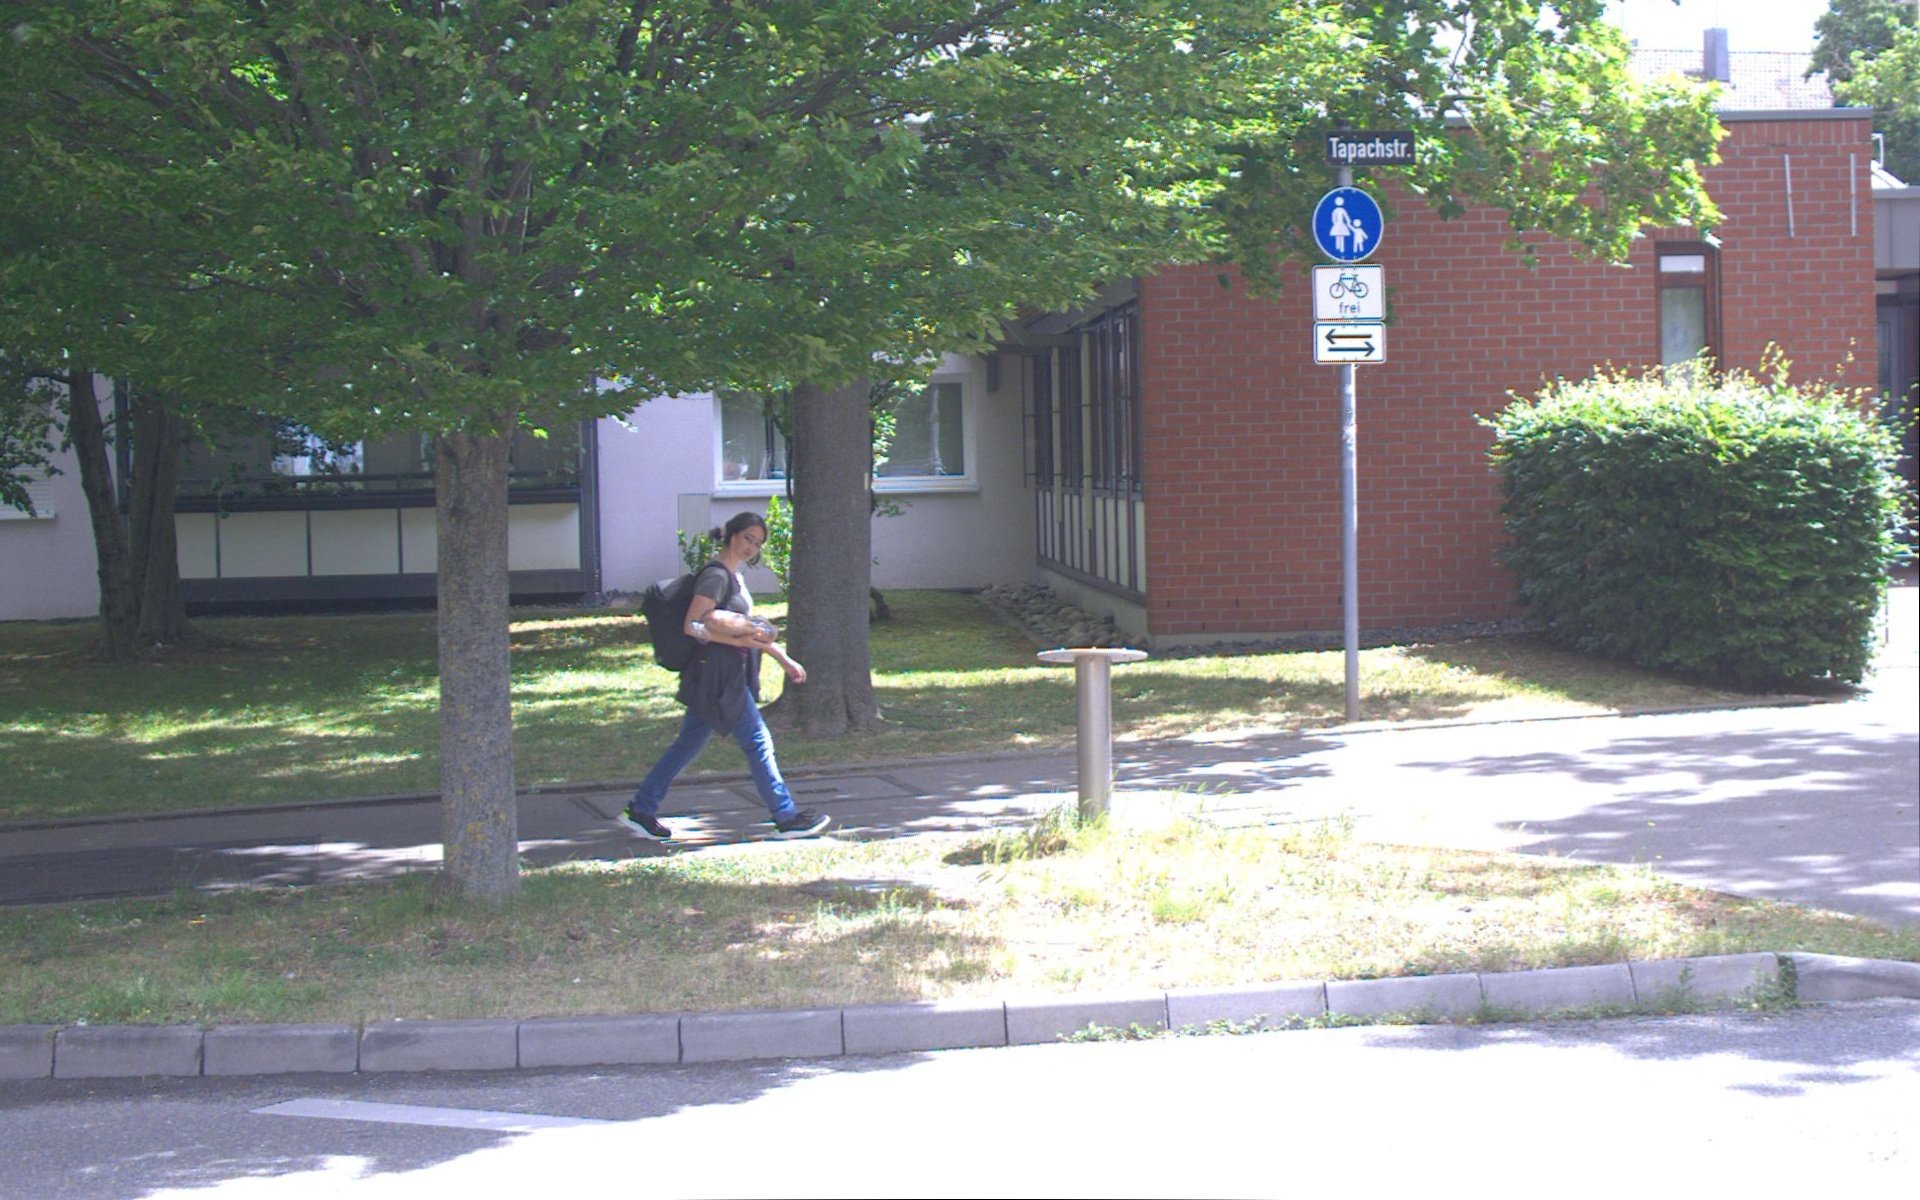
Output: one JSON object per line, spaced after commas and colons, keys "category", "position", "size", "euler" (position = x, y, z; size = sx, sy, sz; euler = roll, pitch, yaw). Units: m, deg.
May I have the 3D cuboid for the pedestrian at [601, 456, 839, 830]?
{"category": "pedestrian", "position": [-1.084, 0.176, 15.413], "size": [0.838, 1.573, 0.721], "euler": [-5, 2, -13]}
